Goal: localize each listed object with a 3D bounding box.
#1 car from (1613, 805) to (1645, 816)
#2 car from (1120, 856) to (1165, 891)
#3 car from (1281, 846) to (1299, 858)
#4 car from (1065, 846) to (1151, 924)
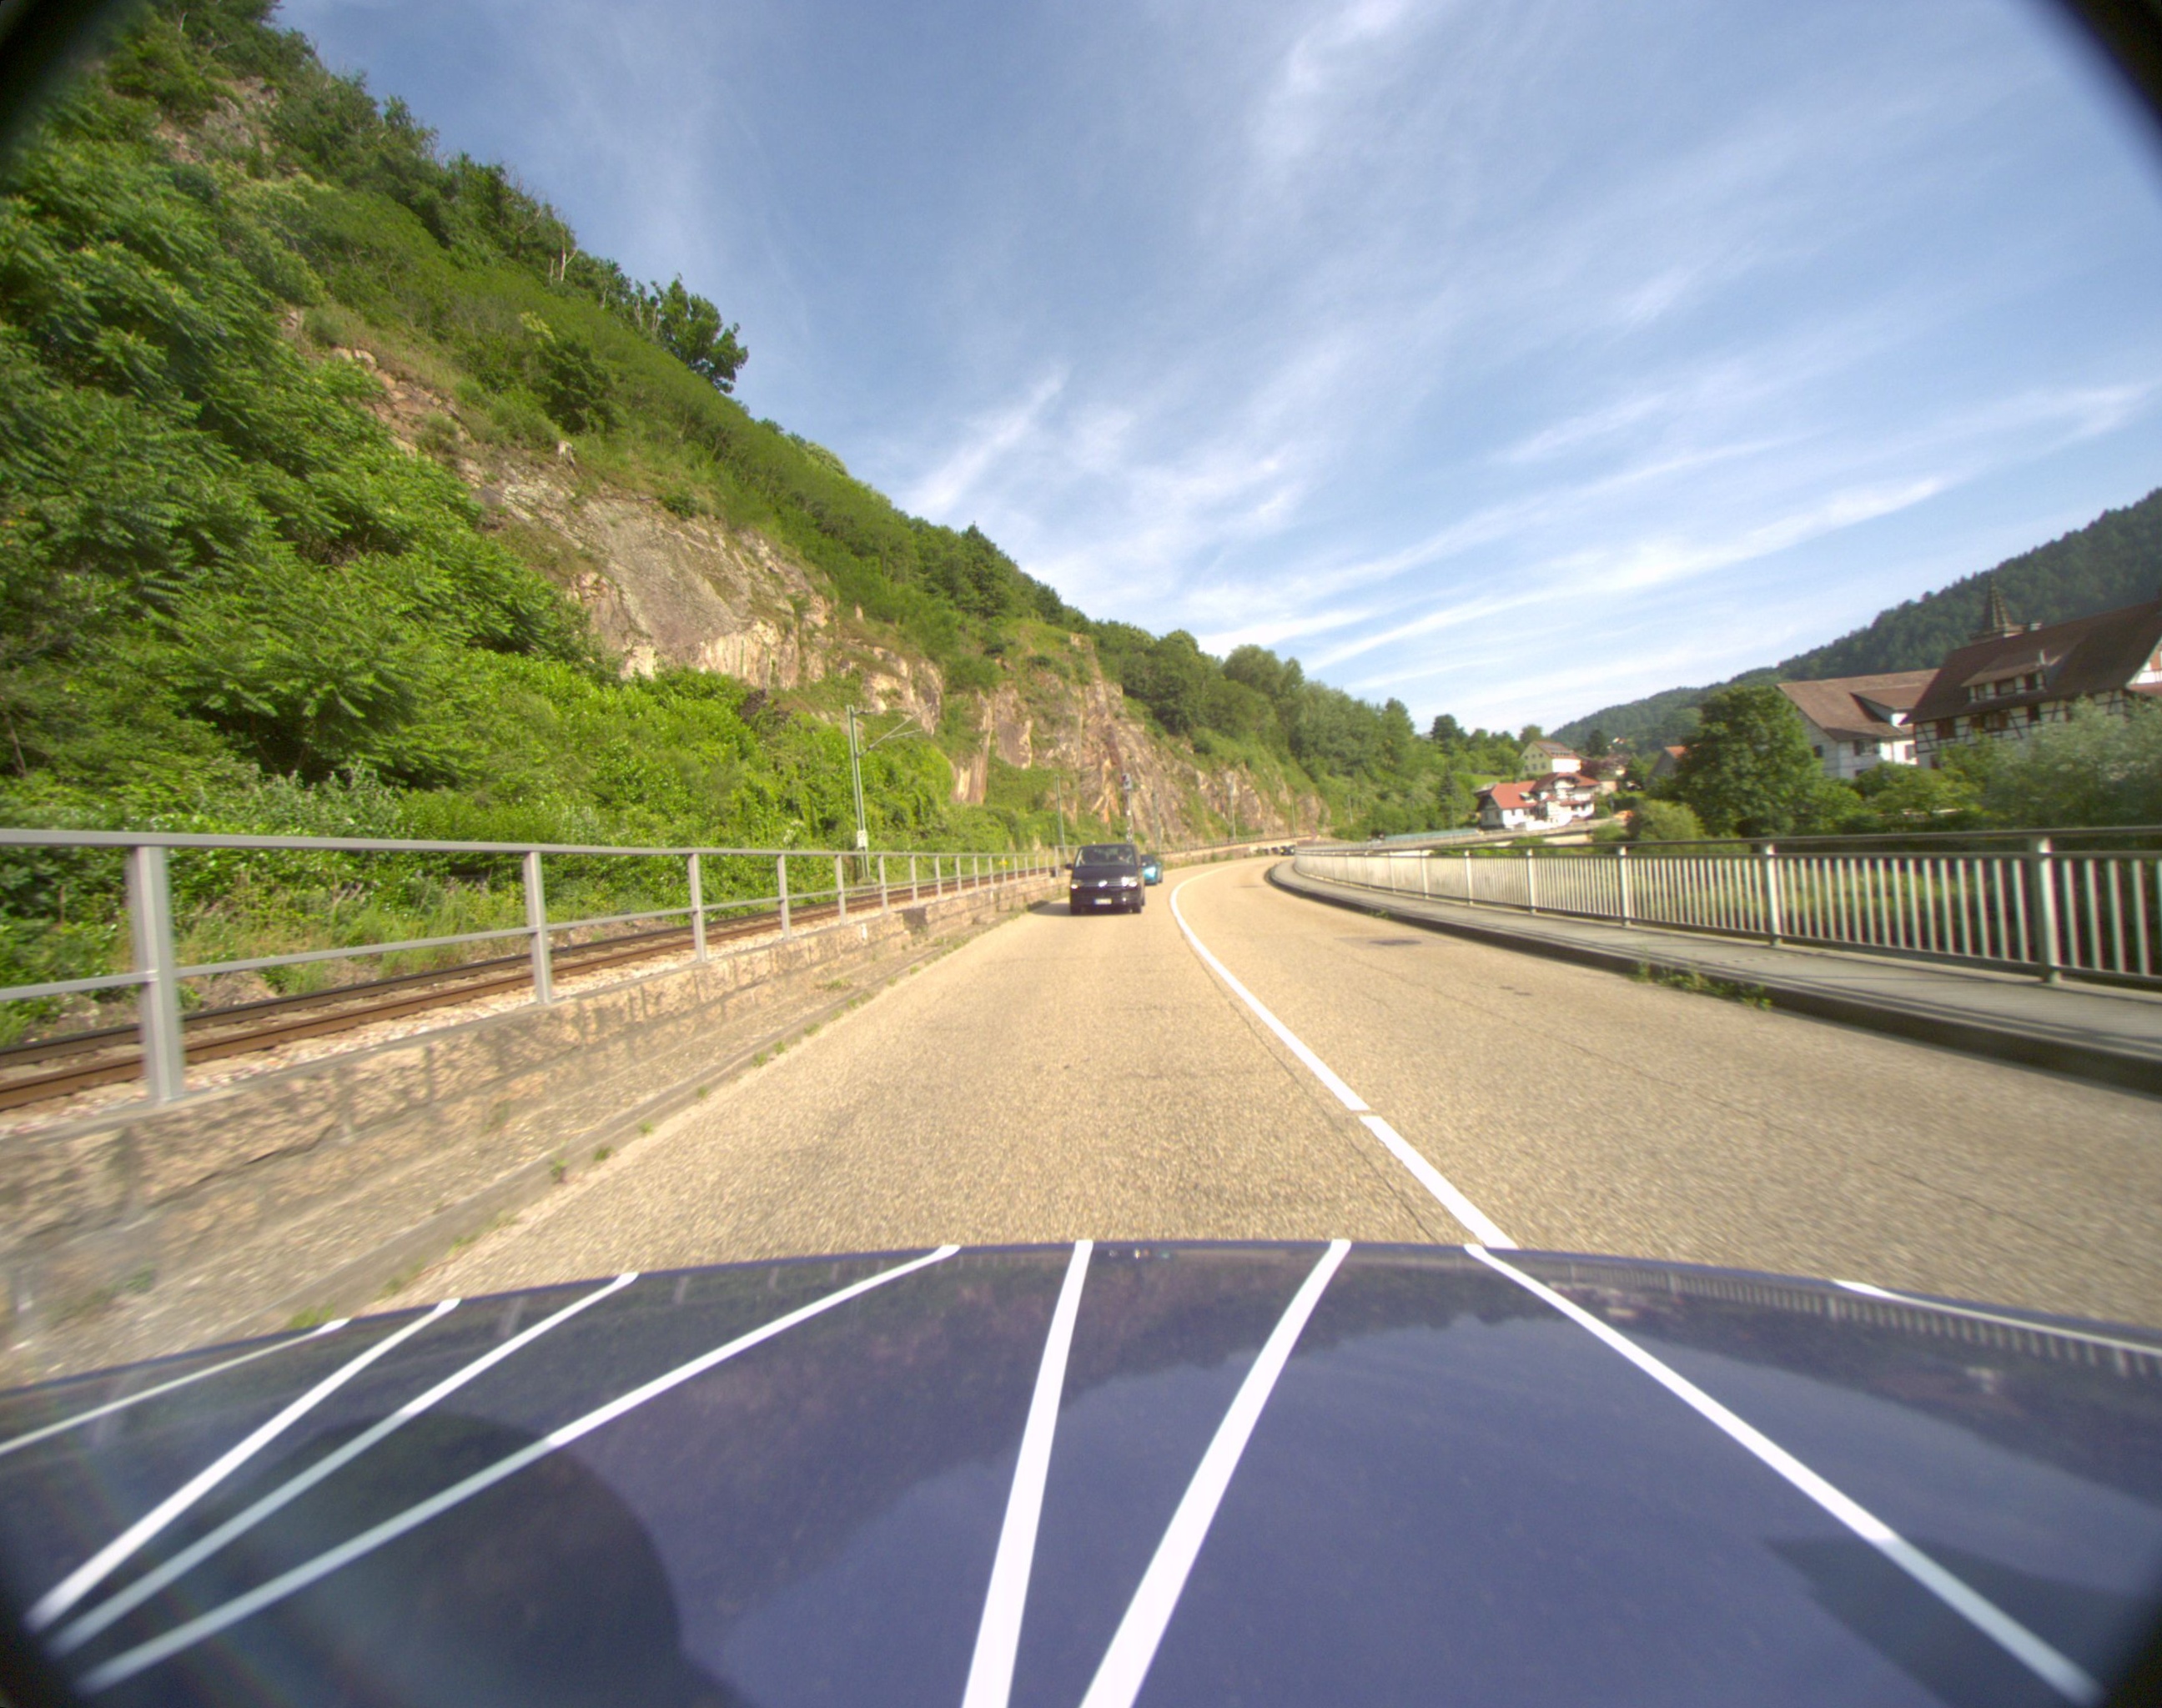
[{"bbox_3d":[106.176,-8.397,147.178,4.831,1.986,1.914,-1,1,1],"label":"car"},{"bbox_3d":[3.129,0.924,38.002,1.681,1.513,3.869,-4,0,12],"label":"car"},{"bbox_3d":[28.532,-0.278,103.584,1.700,1.512,3.479,1,-1,27],"label":"car"},{"bbox_3d":[0.912,0.793,21.832,1.886,1.952,4.869,-2,0,8],"label":"car"}]
